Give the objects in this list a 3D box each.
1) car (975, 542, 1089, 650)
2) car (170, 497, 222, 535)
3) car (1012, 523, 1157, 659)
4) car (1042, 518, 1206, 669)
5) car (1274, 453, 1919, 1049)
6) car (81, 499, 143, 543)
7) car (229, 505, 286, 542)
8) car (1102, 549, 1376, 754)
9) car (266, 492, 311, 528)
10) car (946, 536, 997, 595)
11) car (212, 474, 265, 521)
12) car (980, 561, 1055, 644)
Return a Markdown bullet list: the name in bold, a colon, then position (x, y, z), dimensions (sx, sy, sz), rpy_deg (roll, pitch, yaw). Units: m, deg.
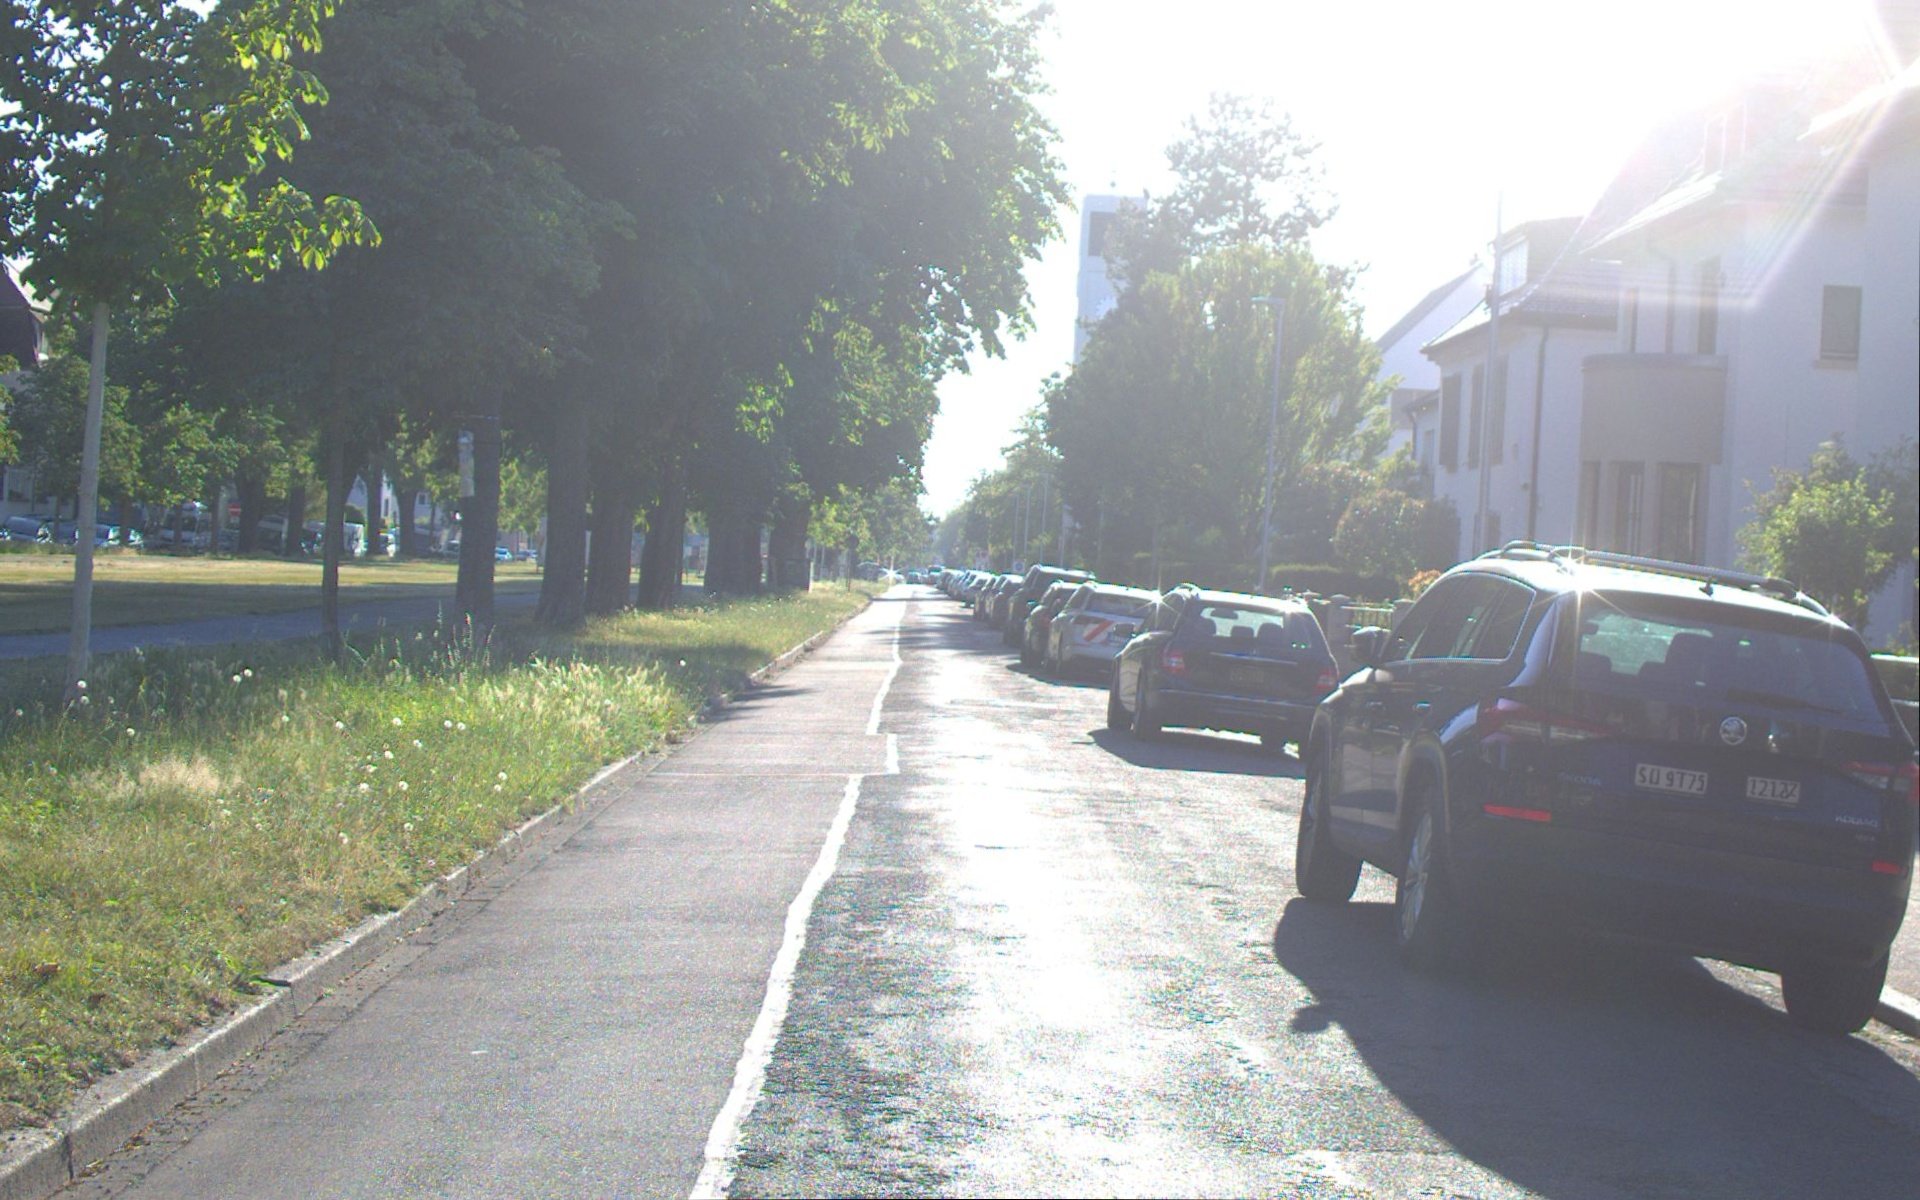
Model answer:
- **car**: position (1.466, -0.071, 71.827), dimensions (1.993, 2.007, 4.000), rpy_deg (6, 0, -2)
- **car**: position (-41.485, -4.556, 186.748), dimensions (1.879, 1.746, 3.797), rpy_deg (6, 0, -1)
- **car**: position (2.049, -0.141, 57.644), dimensions (1.993, 2.007, 4.000), rpy_deg (6, 0, -2)
- **car**: position (2.437, -0.085, 52.002), dimensions (1.993, 2.007, 4.000), rpy_deg (6, 0, -2)
- **car**: position (2.693, 0.513, 14.376), dimensions (1.993, 1.897, 4.390), rpy_deg (8, 1, -2)
- **car**: position (-42.219, -3.902, 171.261), dimensions (1.993, 1.907, 4.000), rpy_deg (6, 0, -1)
- **car**: position (-35.014, -3.786, 171.500), dimensions (1.993, 1.728, 4.000), rpy_deg (3, 1, -1)
- **car**: position (2.510, 0.455, 31.852), dimensions (1.993, 1.648, 4.000), rpy_deg (4, 0, -2)
- **car**: position (-43.905, -5.880, 224.805), dimensions (1.993, 2.007, 4.000), rpy_deg (6, 0, -1)
- **car**: position (0.419, -1.286, 129.650), dimensions (1.691, 2.007, 3.625), rpy_deg (6, 0, -1)
- **car**: position (-34.612, -4.897, 164.991), dimensions (1.654, 1.932, 3.567), rpy_deg (6, -1, -1)
- **car**: position (1.508, 0.071, 91.448), dimensions (1.691, 2.007, 3.625), rpy_deg (6, 0, -1)
